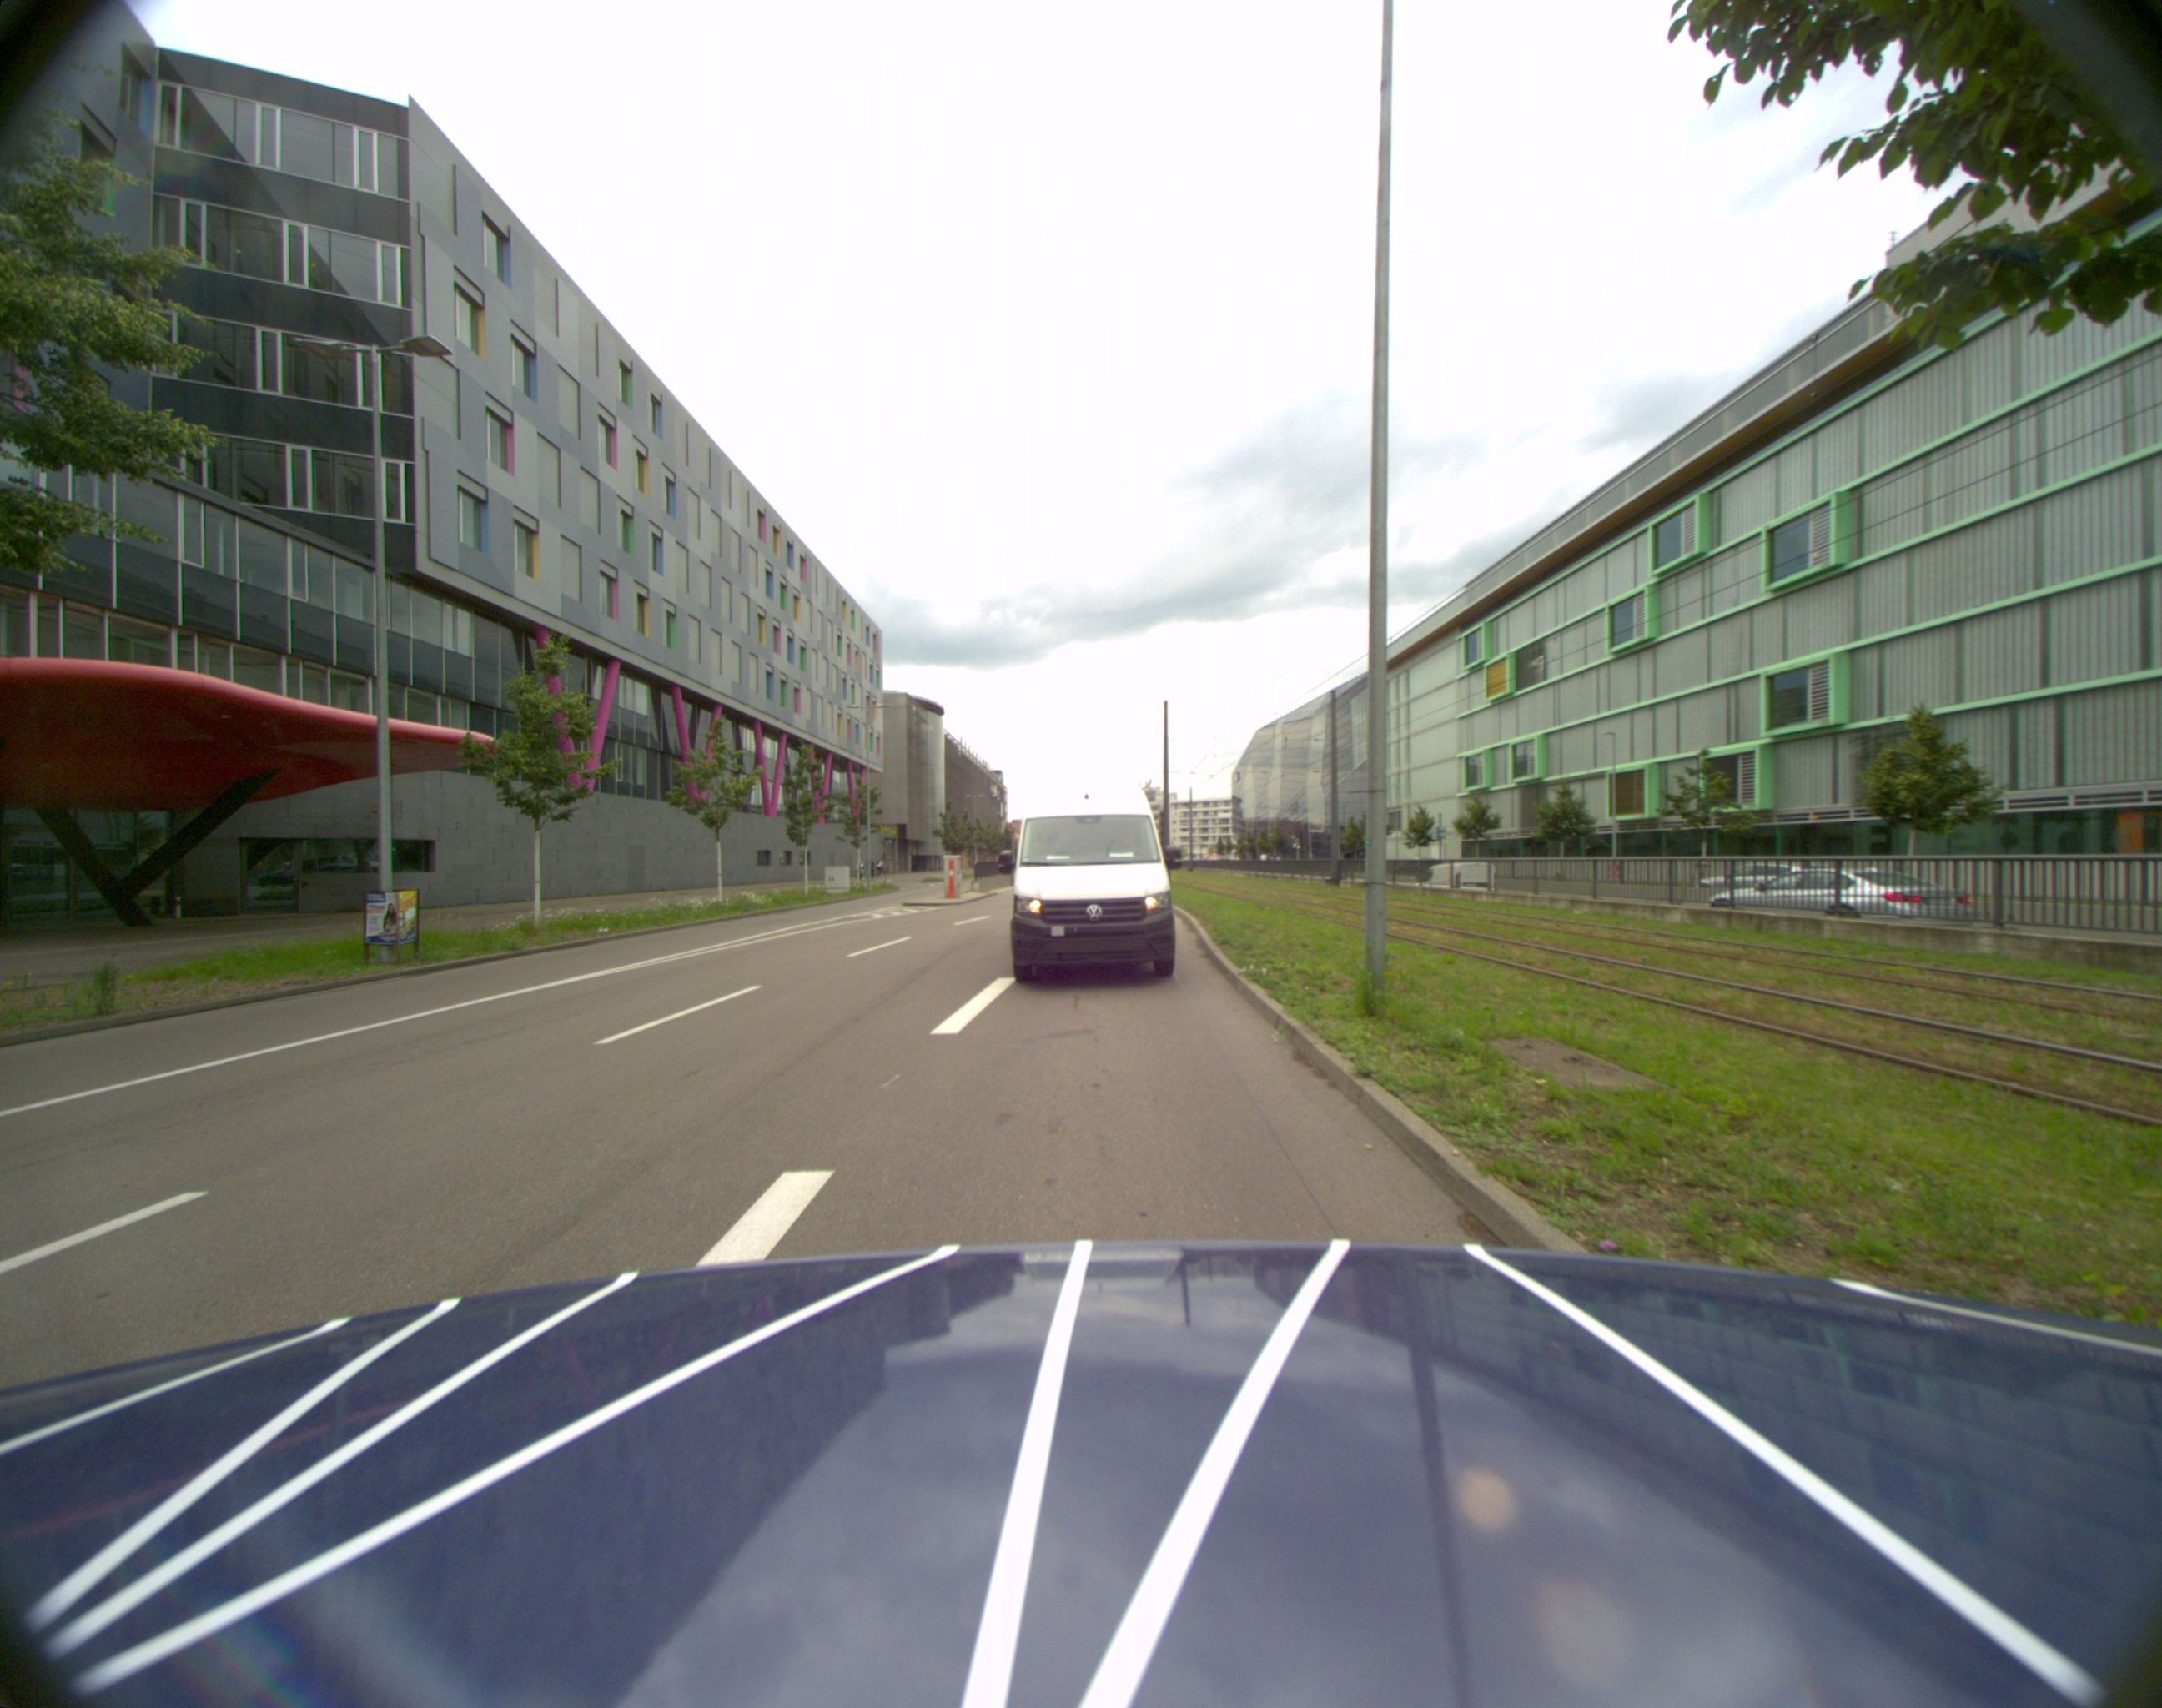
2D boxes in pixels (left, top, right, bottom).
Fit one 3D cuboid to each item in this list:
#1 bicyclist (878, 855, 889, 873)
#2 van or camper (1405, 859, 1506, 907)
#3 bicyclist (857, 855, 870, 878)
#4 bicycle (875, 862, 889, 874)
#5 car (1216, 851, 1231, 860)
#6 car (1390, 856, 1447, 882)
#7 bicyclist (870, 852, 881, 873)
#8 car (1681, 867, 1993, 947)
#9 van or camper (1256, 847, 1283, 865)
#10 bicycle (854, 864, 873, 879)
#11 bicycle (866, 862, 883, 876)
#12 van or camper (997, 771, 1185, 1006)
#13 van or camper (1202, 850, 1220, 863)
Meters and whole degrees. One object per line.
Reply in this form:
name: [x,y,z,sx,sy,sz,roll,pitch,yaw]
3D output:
bicyclist: [-19.123,0.985,73.507,0.772,1.776,0.974,0,0,0]
van or camper: [16.393,1.203,33.599,1.894,1.889,5.124,0,0,-1]
bicyclist: [-17.345,0.995,60.726,0.784,1.792,0.705,-2,0,0]
bicycle: [-19.130,1.325,73.178,0.785,1.187,2.220,0,0,-1]
car: [26.756,0.280,142.781,1.998,1.583,4.769,-1,-2,3]
car: [24.195,1.032,54.652,1.998,1.813,4.968,-1,0,1]
bicyclist: [-17.993,0.770,66.500,0.784,1.790,0.705,-2,-4,0]
car: [16.119,1.034,16.697,1.733,1.437,4.921,1,-1,-4]
van or camper: [24.028,0.215,96.921,2.178,2.273,5.358,-1,0,1]
bicycle: [-17.334,1.387,60.676,0.801,1.151,2.345,-2,-1,0]
bicycle: [-17.982,1.317,66.184,0.801,1.150,2.346,-2,-4,0]
van or camper: [0.110,0.387,10.963,2.043,2.572,5.041,-1,0,0]
van or camper: [23.904,0.543,139.899,2.178,2.273,6.507,-2,0,1]
